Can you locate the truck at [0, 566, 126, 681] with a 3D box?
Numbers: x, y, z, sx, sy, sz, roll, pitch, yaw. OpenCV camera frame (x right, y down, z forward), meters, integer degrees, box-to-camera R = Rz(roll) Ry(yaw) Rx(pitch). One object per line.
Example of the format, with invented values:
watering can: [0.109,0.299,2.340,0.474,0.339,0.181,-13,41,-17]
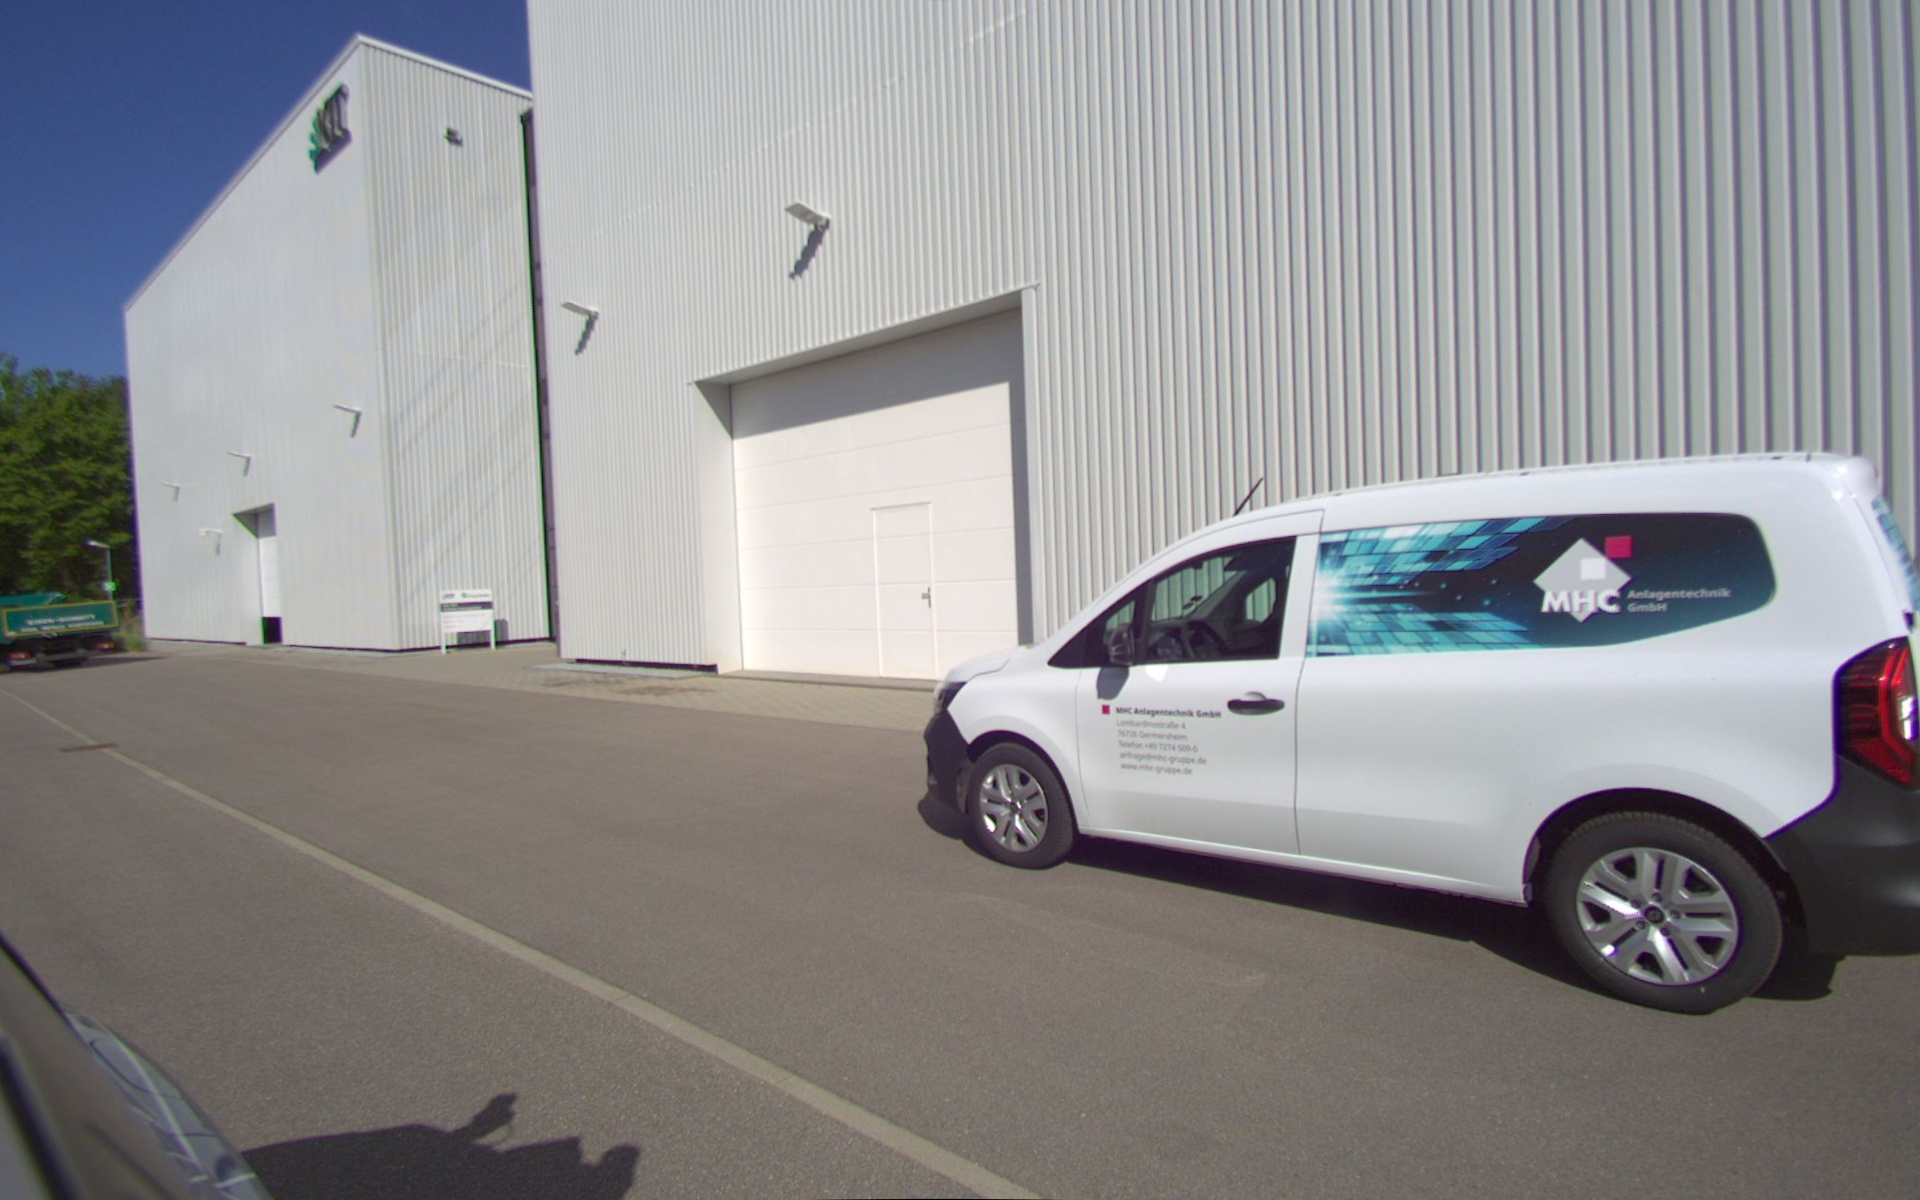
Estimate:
truck: [-27.553,0.709,28.725,9.655,2.736,2.564,-2,3,30]

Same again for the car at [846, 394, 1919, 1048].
car: [1.741,0.314,4.864,4.597,1.803,1.908,-1,3,42]
